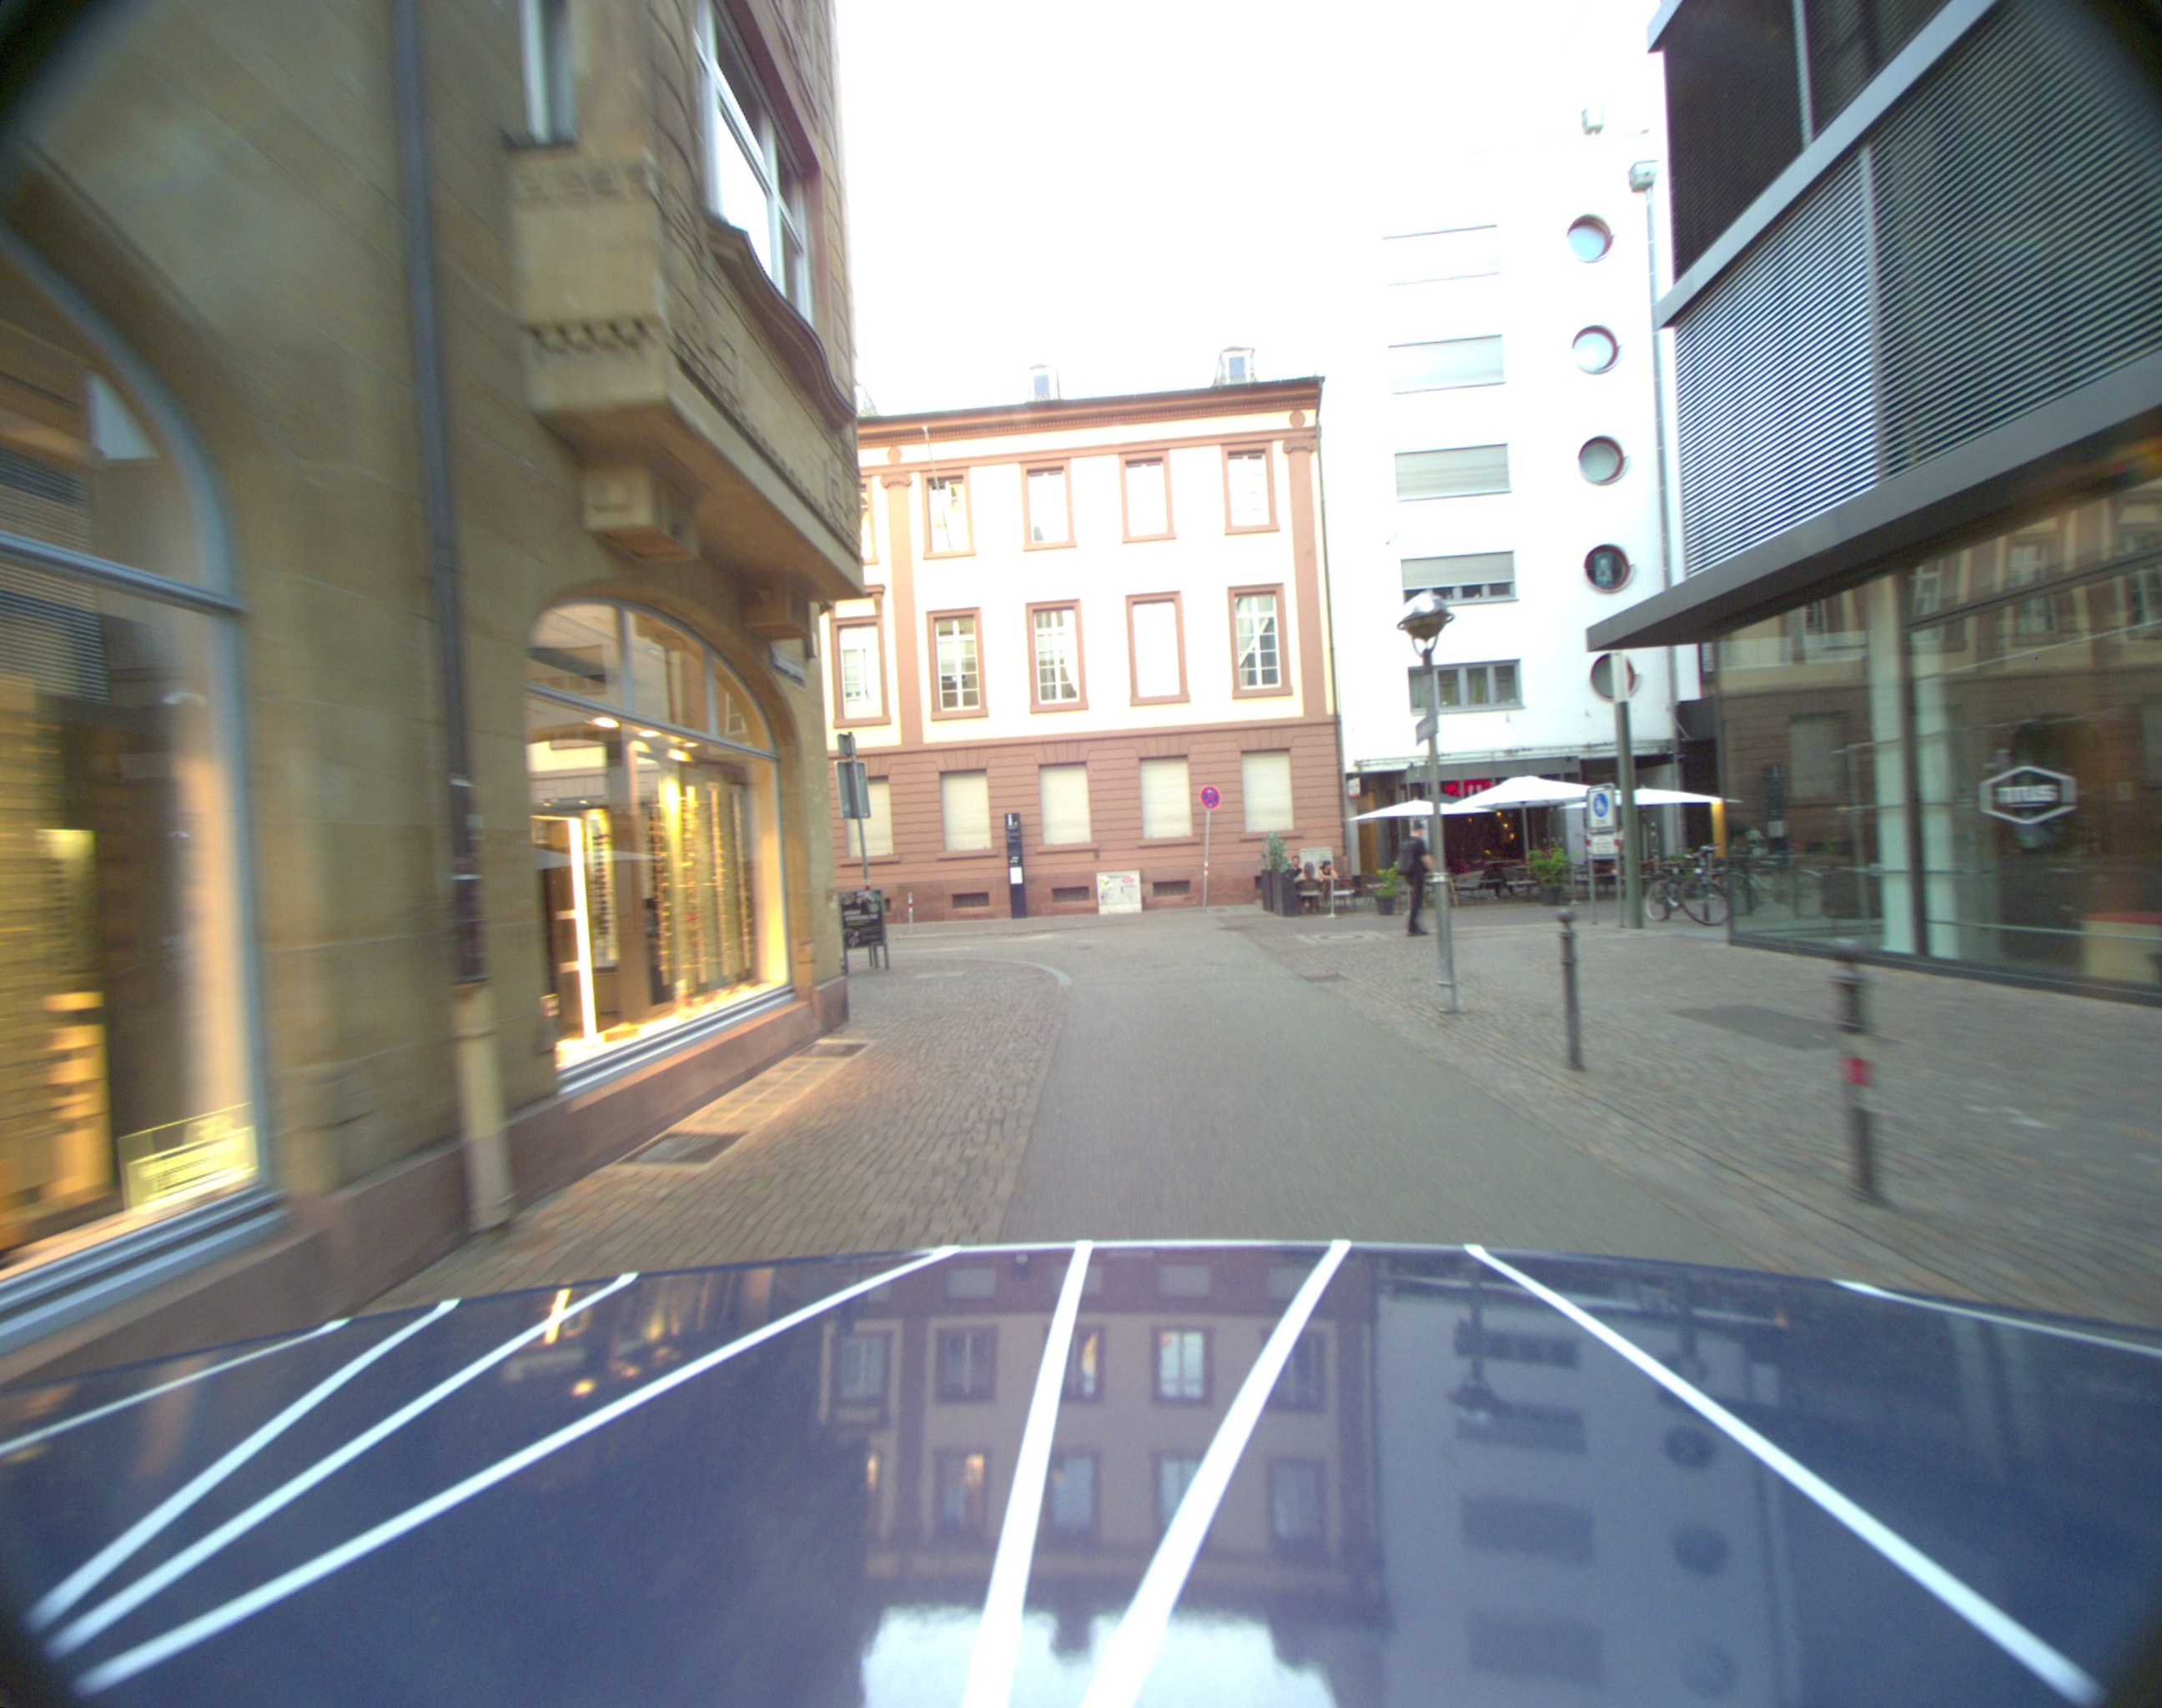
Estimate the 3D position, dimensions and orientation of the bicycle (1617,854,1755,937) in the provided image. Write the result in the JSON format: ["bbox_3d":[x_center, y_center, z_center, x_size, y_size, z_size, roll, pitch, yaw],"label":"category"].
[{"bbox_3d":[9.022,0.599,11.434,0.709,1.106,1.674,-3,-1,2],"label":"bicycle"}]

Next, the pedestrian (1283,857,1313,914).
[{"bbox_3d":[5.262,0.752,18.440,0.548,1.341,0.489,-3,1,5],"label":"pedestrian"}]

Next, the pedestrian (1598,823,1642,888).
[{"bbox_3d":[14.274,0.033,20.124,0.671,1.656,0.623,-4,1,-25],"label":"pedestrian"}]

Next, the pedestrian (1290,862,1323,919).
[{"bbox_3d":[5.029,0.808,16.955,0.561,1.204,0.461,-3,1,5],"label":"pedestrian"}]

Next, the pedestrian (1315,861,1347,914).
[{"bbox_3d":[5.966,0.788,18.155,0.548,1.204,0.524,-3,0,5],"label":"pedestrian"}]

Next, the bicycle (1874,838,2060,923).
[{"bbox_3d":[13.272,0.382,11.486,0.556,1.137,1.912,-3,-1,2],"label":"bicycle"}]

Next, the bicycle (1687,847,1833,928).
[{"bbox_3d":[10.573,0.502,11.925,0.609,1.143,1.842,-3,-1,2],"label":"bicycle"}]

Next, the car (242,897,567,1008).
[{"bbox_3d":[-11.081,1.583,12.605,3.996,1.434,1.651,-3,0,5],"label":"car"}]

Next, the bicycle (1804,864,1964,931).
[{"bbox_3d":[11.800,0.612,11.253,0.454,0.890,1.794,-3,-1,2],"label":"bicycle"}]

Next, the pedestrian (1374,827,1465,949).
[{"bbox_3d":[5.250,0.511,11.814,0.968,1.775,0.740,-3,1,-7],"label":"pedestrian"}]
